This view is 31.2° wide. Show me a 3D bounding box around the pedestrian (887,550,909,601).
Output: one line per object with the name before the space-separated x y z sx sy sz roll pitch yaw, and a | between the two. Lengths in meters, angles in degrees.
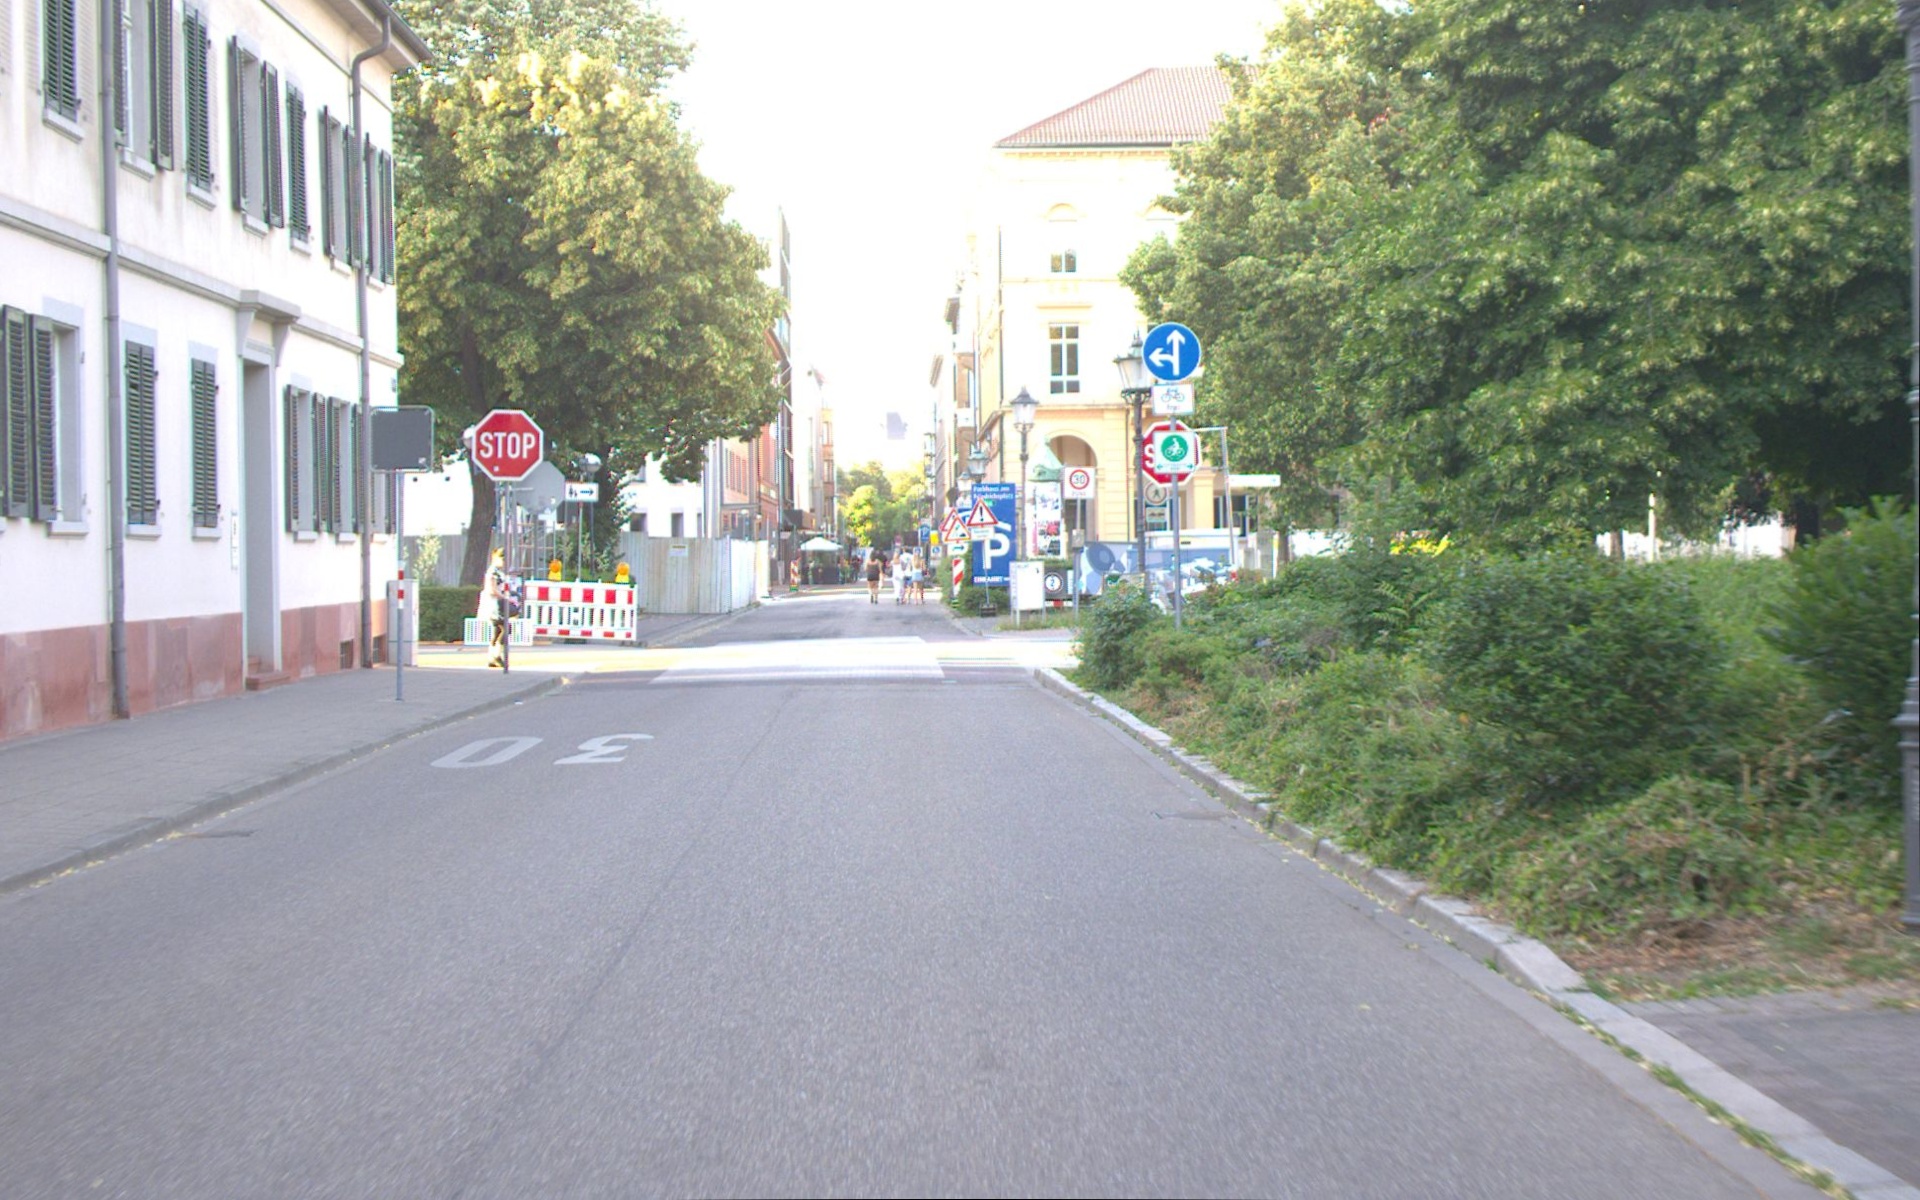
pedestrian | -1.954 -0.772 108.336 0.657 1.611 0.745 -1 1 -1

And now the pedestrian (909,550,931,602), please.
pedestrian | -1.251 -0.765 108.360 0.657 1.611 0.745 -1 1 -1

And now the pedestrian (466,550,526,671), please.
pedestrian | -6.603 0.143 48.918 0.734 1.683 0.836 -1 0 -2

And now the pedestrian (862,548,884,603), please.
pedestrian | -2.783 -0.793 110.105 0.657 1.754 0.745 -1 1 0
